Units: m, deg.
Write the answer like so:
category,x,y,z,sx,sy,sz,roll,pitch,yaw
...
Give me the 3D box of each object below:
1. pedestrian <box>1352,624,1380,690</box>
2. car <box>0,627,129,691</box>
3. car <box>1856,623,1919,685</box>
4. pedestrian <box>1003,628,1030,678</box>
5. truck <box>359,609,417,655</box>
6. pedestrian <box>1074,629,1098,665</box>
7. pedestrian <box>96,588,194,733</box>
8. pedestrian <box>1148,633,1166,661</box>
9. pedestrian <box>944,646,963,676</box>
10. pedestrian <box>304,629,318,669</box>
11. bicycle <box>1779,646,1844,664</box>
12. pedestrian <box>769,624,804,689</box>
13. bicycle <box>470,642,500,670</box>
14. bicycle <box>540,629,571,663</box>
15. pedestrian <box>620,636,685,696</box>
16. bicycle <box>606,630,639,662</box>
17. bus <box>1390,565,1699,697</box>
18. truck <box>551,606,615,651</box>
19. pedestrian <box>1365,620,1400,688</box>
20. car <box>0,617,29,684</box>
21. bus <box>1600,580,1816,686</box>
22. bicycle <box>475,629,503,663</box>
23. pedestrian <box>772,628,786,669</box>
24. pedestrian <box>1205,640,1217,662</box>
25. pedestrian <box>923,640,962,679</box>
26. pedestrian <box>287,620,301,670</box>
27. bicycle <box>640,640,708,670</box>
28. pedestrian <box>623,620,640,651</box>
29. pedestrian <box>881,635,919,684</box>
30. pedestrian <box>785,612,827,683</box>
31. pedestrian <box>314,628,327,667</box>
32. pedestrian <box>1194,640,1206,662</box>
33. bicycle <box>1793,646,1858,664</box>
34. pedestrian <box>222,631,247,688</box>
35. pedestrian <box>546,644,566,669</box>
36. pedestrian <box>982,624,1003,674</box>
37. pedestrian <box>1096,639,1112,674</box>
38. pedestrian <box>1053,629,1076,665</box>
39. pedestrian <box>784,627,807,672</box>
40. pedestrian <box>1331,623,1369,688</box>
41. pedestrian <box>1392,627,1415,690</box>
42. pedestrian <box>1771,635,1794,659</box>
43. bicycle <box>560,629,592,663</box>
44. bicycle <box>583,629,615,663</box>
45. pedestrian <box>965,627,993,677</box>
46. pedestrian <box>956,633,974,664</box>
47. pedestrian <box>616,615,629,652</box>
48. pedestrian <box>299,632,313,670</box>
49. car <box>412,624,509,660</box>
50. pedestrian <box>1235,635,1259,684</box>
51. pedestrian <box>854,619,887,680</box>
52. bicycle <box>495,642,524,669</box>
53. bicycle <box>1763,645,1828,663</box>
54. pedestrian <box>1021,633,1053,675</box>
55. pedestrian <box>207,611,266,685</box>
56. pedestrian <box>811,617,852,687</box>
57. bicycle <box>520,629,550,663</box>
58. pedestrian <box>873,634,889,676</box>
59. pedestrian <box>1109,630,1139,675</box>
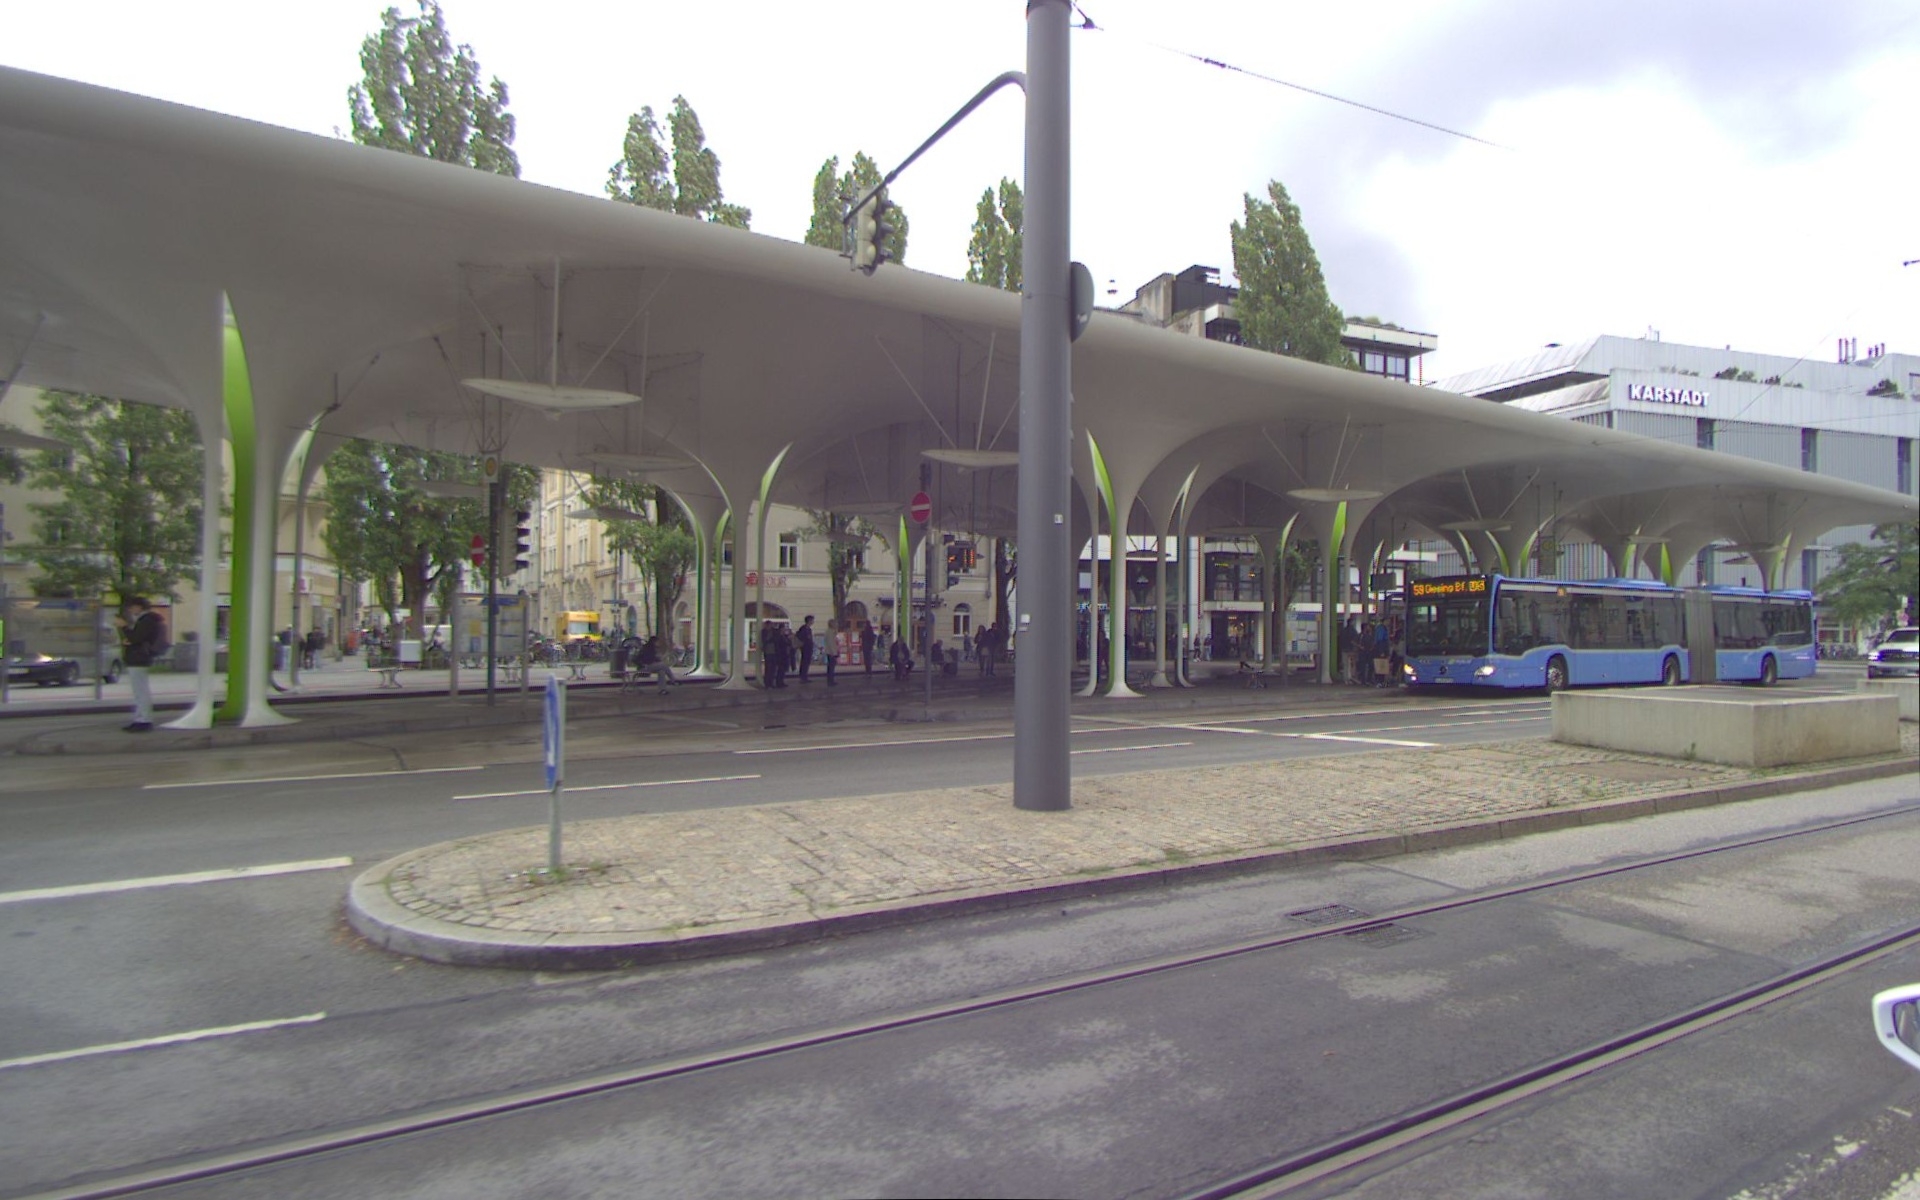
category,x,y,z,sx,sy,sz,roll,pitch,yaw
pedestrian,10.946,1.531,27.086,0.568,1.756,0.500,2,-2,-40
car,-25.060,1.577,27.915,1.804,1.637,3.981,1,-2,-21
car,31.971,1.752,33.032,6.088,1.912,2.163,2,-2,-32
pedestrian,1.885,1.775,33.573,0.691,1.639,0.644,1,-2,-26
truck,-34.070,1.896,60.019,2.259,2.658,5.324,1,-2,-22
pedestrian,6.472,2.409,51.458,0.981,1.796,0.931,1,-1,-10
pedestrian,-10.878,0.791,13.411,0.654,1.863,0.809,0,-1,30
pedestrian,11.980,2.867,61.105,0.762,1.683,0.779,1,-1,-20
pedestrian,-0.221,2.092,34.657,0.450,1.002,0.513,0,-1,34
pedestrian,-27.419,2.070,42.460,0.452,1.647,0.577,1,1,-32
bicycle,59.829,3.826,70.620,1.042,1.172,3.493,1,-2,-16
pedestrian,-4.308,1.389,24.937,0.586,1.565,0.634,-1,-2,43
bicycle,-21.383,2.502,45.259,0.726,1.149,2.677,1,-2,-15
bicycle,-20.709,2.329,51.362,0.989,1.634,3.597,1,-2,-29
pedestrian,-6.597,1.411,21.608,1.248,1.246,0.811,1,-1,-11
bicycle,-17.849,2.399,53.053,0.989,1.634,3.597,1,-2,-29
bus,16.029,0.896,27.126,10.399,3.046,2.647,1,-3,-32
truck,-22.850,1.737,60.723,2.412,2.546,7.125,1,-2,-30
pedestrian,11.026,1.400,26.232,0.750,1.766,0.560,1,-2,-40
car,-28.524,1.430,28.018,1.842,1.973,4.911,1,-2,-19
bus,23.687,1.082,31.723,7.422,3.046,2.649,1,-3,-29
bicycle,-23.449,2.262,49.974,0.989,1.634,3.597,1,-2,-29
pedestrian,-8.180,2.172,45.377,0.546,1.838,0.556,1,-1,-18
pedestrian,15.695,3.160,62.778,0.567,1.351,0.512,1,-1,-11
pedestrian,-0.556,1.862,31.798,0.867,1.170,0.908,1,1,-29
pedestrian,-27.902,1.868,42.066,0.452,2.040,0.577,1,1,-32
bicycle,-13.097,2.515,46.051,2.886,1.331,0.841,1,-1,-6
pedestrian,-19.892,2.144,60.768,0.792,1.807,0.951,1,-1,-31
pedestrian,-1.752,1.716,29.247,0.829,1.388,0.961,1,-1,-23
pedestrian,-4.205,1.291,27.389,0.701,1.897,0.875,0,-1,36
pedestrian,-27.563,2.062,43.307,0.452,1.647,0.577,1,1,-32
pedestrian,14.824,3.137,62.070,0.567,1.351,0.512,1,-1,-11
bicycle,61.199,3.861,71.066,1.042,1.172,3.493,1,-2,-16
pedestrian,-26.392,2.140,36.532,0.686,2.040,0.692,1,-1,-37
pedestrian,-18.462,2.555,45.919,0.606,1.097,1.835,1,-1,-16
pedestrian,1.150,1.720,35.460,0.635,1.719,0.700,0,-1,11
pedestrian,5.300,2.073,37.033,0.563,1.282,0.520,0,-1,6
pedestrian,5.321,2.379,51.198,0.981,1.796,0.931,1,-1,-10
pedestrian,-6.186,1.857,37.808,0.635,1.669,0.596,1,-2,-37
pedestrian,10.861,1.531,27.975,0.876,1.744,0.706,2,-2,-45
pedestrian,11.550,1.521,26.163,0.387,1.626,0.390,1,-1,-35
pedestrian,55.743,3.153,68.055,0.962,1.602,0.796,1,-1,-19
bicycle,-19.858,2.350,51.907,0.989,1.634,3.597,1,-2,-29
bicycle,-18.874,2.374,52.399,0.989,1.634,3.597,1,-2,-29
pedestrian,0.602,1.683,32.440,0.652,1.585,0.640,-1,-2,35
pedestrian,0.269,2.710,56.140,0.742,1.699,0.790,1,-2,-20
pedestrian,-18.805,1.862,56.011,0.562,2.040,0.669,1,-1,-9
pedestrian,-28.114,2.193,43.176,0.453,1.612,0.519,1,1,-32
car,-28.017,2.369,56.401,4.747,1.945,1.984,1,-2,-30
pedestrian,12.309,2.543,43.110,0.888,2.040,0.673,0,-1,8
pedestrian,-2.718,1.502,30.443,0.772,1.812,0.760,1,-1,-27
bicycle,-20.471,2.524,45.668,0.726,1.149,2.677,1,-2,-15
bicycle,58.266,3.786,70.114,1.042,1.172,3.493,1,-2,-16
pedestrian,2.797,1.963,36.611,0.888,1.528,0.738,2,-2,-37
pedestrian,-20.283,1.343,28.181,1.010,2.040,1.002,1,-1,-14
pedestrian,-3.283,1.322,25.645,0.799,1.750,0.668,-1,-2,44
bicycle,-21.583,2.308,50.960,0.989,1.634,3.597,1,-2,-29
pedestrian,-4.127,2.878,52.505,0.716,2.201,0.556,1,-1,-19
pedestrian,6.544,2.079,40.124,0.883,1.753,0.868,1,-2,-24
